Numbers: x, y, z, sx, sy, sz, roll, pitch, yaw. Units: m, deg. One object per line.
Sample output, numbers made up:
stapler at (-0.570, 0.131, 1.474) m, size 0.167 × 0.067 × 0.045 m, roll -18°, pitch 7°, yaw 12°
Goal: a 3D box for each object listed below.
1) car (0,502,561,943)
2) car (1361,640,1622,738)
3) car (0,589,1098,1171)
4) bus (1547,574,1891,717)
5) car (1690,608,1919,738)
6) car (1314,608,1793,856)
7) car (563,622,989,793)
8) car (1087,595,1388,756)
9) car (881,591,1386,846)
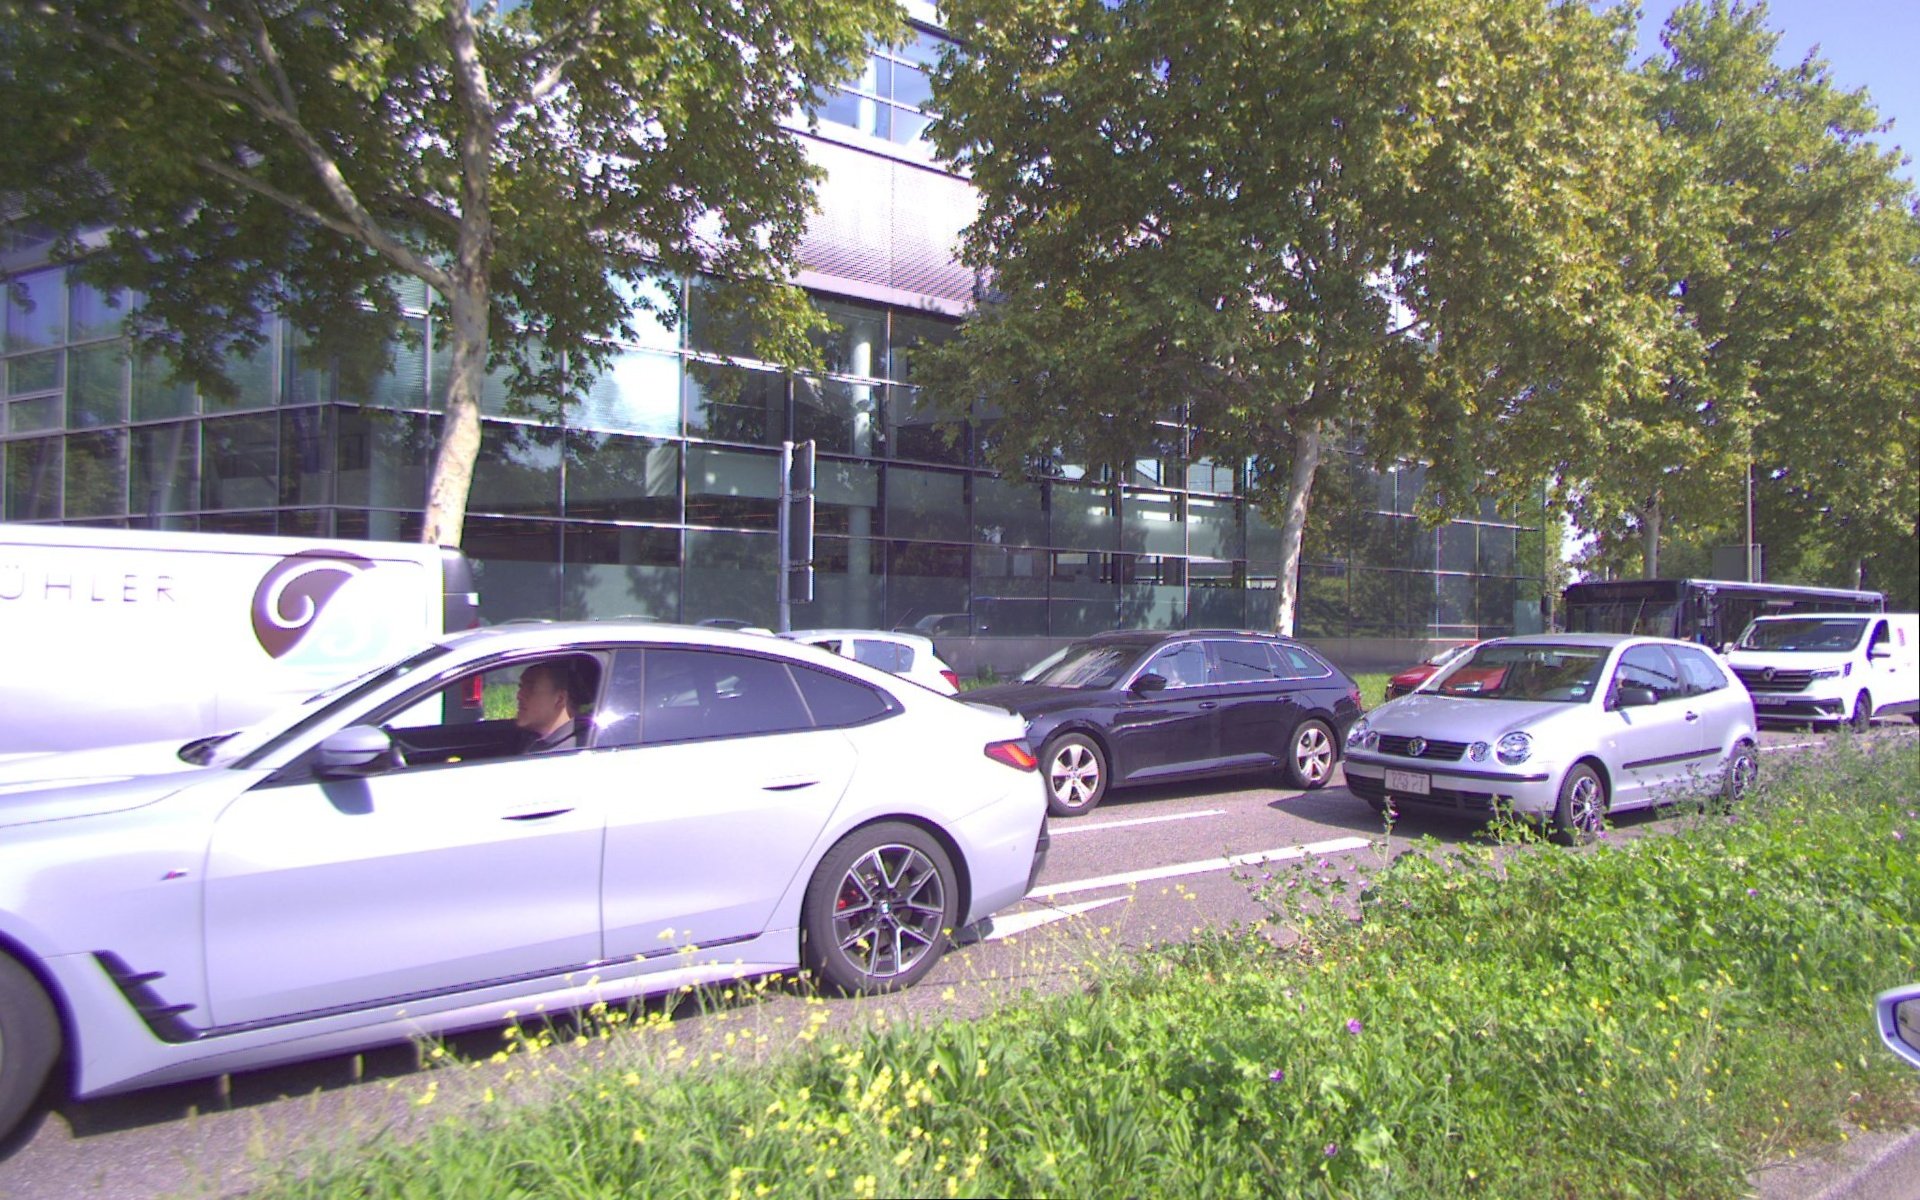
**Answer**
car at (-4.990, 0.561, 5.224) m, size 5.156 × 1.983 × 1.916 m, roll 1°, pitch -1°, yaw -33°
car at (9.562, 1.537, 17.921) m, size 5.155 × 1.530 × 1.770 m, roll 3°, pitch -4°, yaw -32°
car at (-1.778, 0.787, 4.040) m, size 4.556 × 1.462 × 1.825 m, roll 2°, pitch -4°, yaw -33°
bus at (17.792, 1.122, 23.162) m, size 10.785 × 2.729 × 2.648 m, roll 3°, pitch -4°, yaw -32°
car at (15.125, 1.196, 17.577) m, size 5.130 × 1.986 × 1.918 m, roll 1°, pitch -3°, yaw -31°
car at (4.856, 0.947, 8.084) m, size 4.055 × 1.555 × 1.606 m, roll 3°, pitch -4°, yaw -31°
car at (-1.914, 1.087, 10.930) m, size 4.213 × 1.530 × 1.770 m, roll 3°, pitch -4°, yaw -33°
car at (3.877, 1.017, 13.918) m, size 3.933 × 1.920 × 1.916 m, roll 3°, pitch -4°, yaw -33°
car at (1.731, 0.991, 9.331) m, size 4.649 × 1.872 × 1.709 m, roll 2°, pitch -4°, yaw -31°
